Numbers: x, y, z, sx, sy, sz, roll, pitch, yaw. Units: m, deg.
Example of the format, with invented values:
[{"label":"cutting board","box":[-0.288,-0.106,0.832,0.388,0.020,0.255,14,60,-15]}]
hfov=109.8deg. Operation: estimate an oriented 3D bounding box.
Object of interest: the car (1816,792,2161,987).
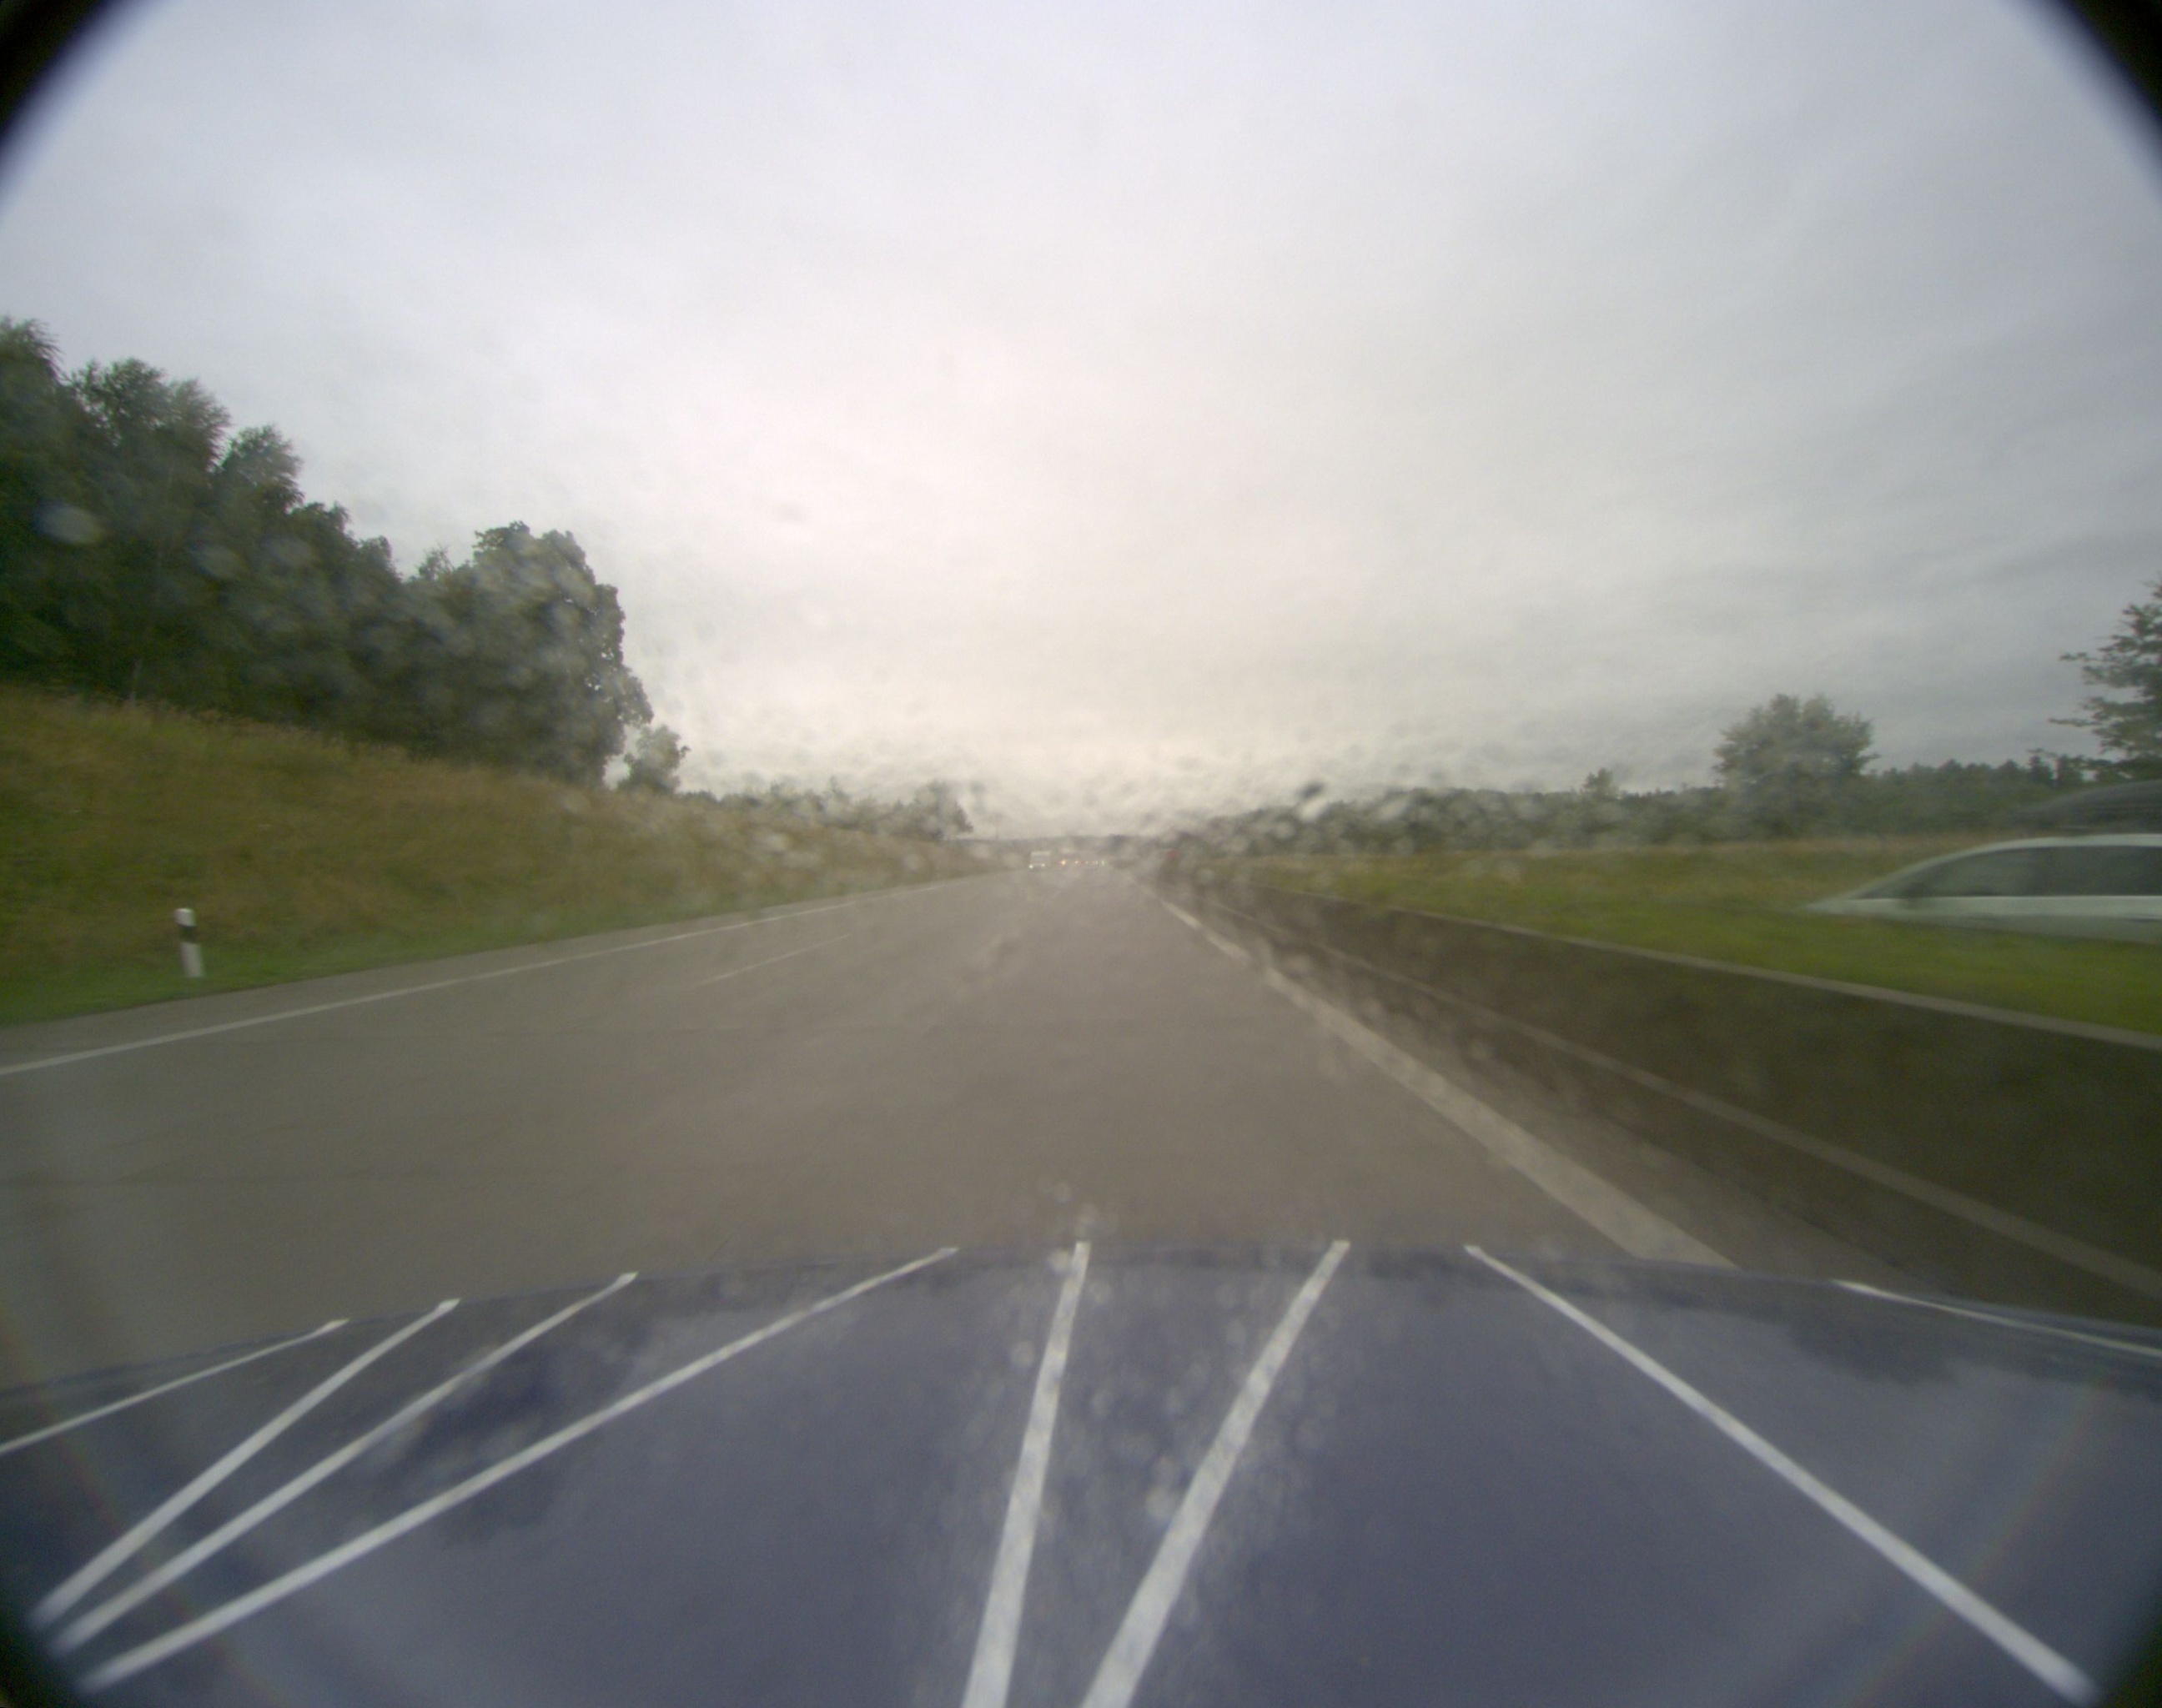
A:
[{"label":"car","box":[8.969,0.258,6.157,1.759,1.460,4.448,0,0,1]}]

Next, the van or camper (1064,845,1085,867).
[{"label":"van or camper","box":[-0.793,0.195,93.211,2.233,2.537,7.950,0,0,2]}]

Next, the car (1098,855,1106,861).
[{"label":"car","box":[5.630,1.097,199.369,1.998,1.576,4.329,0,0,3]}]

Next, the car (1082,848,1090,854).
[{"label":"car","box":[1.438,-0.897,212.705,1.998,1.575,5.012,-1,0,3]}]

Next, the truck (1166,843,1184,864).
[{"label":"truck","box":[20.649,-0.164,167.787,2.761,4.183,13.101,0,1,2]}]

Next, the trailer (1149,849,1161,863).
[{"label":"trailer","box":[24.069,0.532,247.812,3.235,4.315,13.555,-2,0,3]}]

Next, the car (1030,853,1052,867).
[{"label":"car","box":[-4.723,0.702,90.800,1.998,1.576,5.953,-2,0,2]}]

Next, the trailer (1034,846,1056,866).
[{"label":"trailer","box":[-4.548,0.225,96.758,2.348,2.445,5.939,0,1,2]}]
